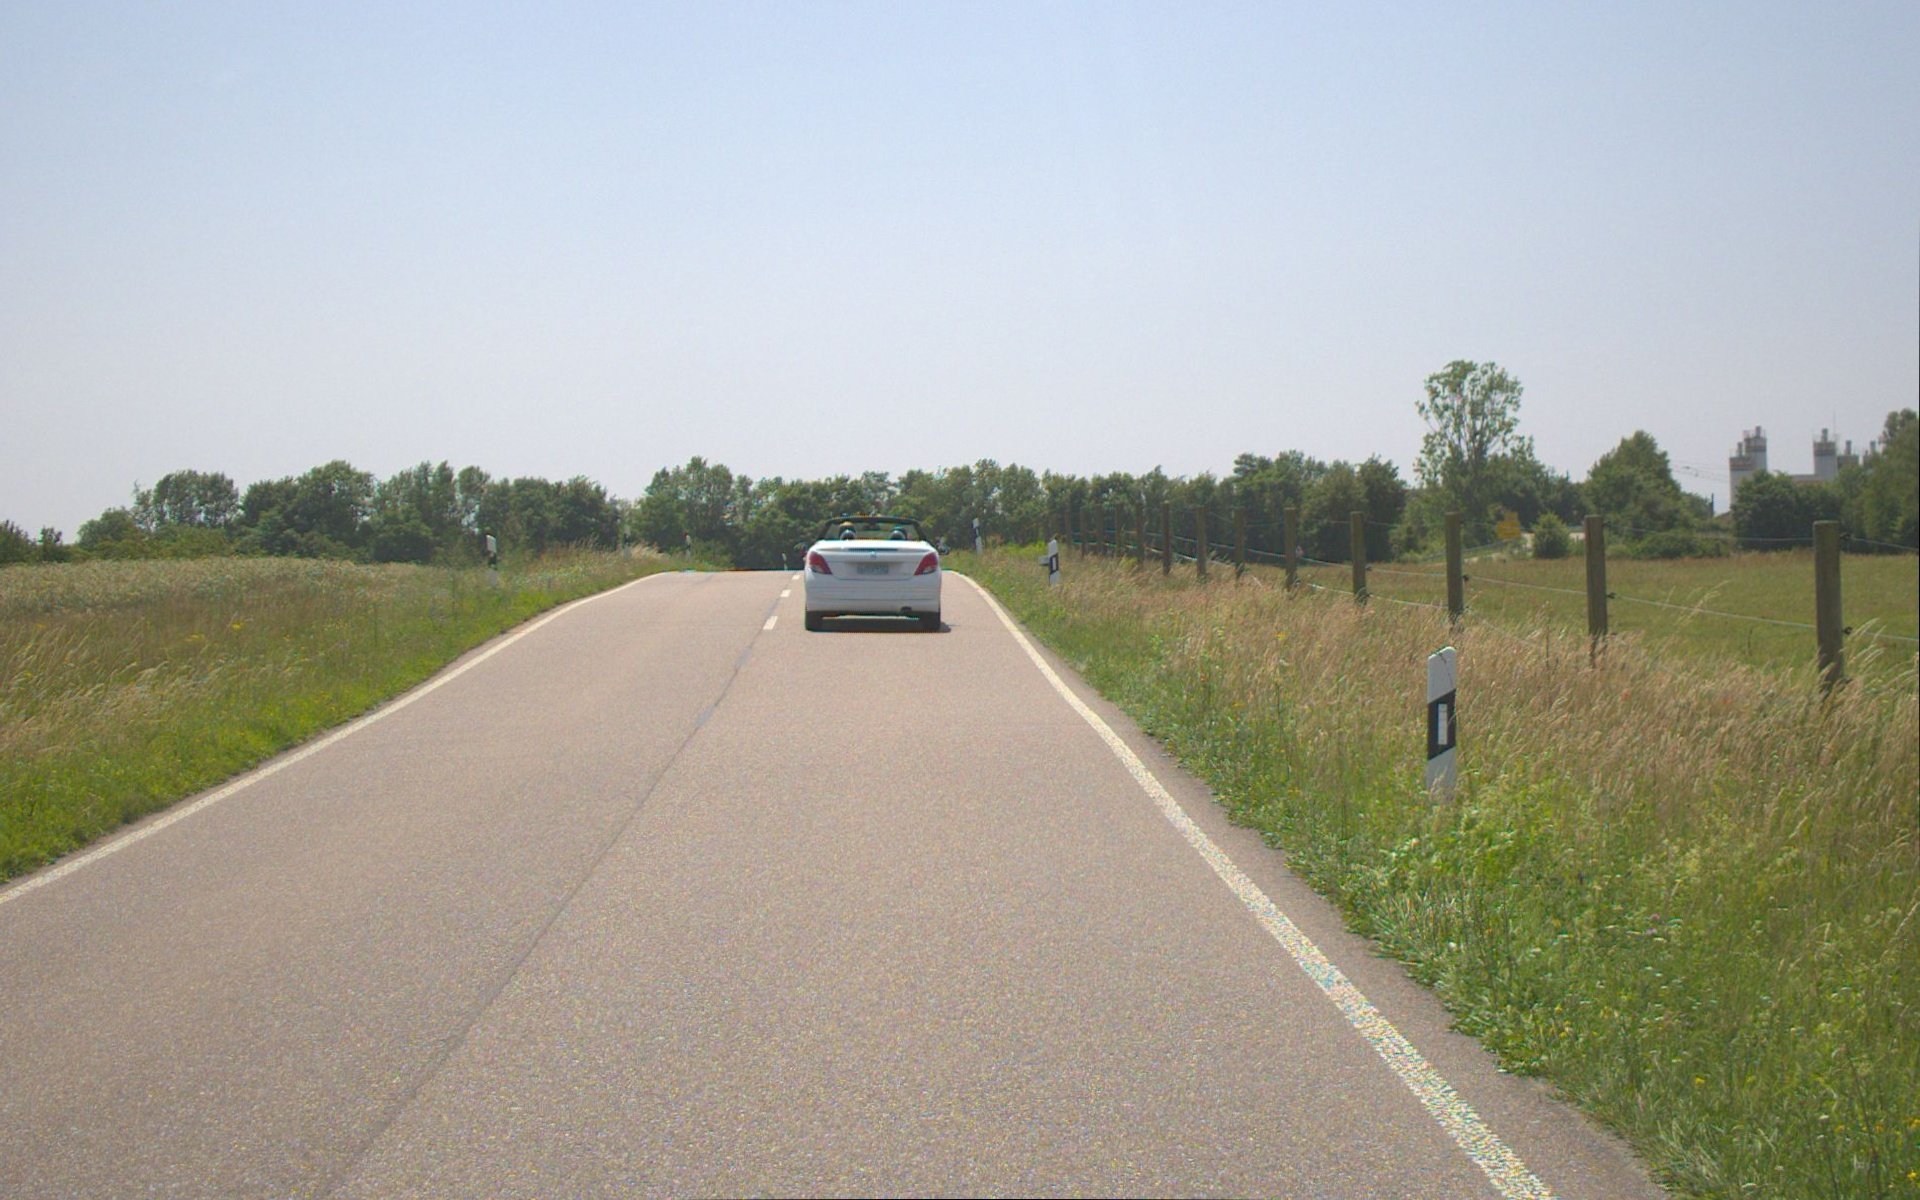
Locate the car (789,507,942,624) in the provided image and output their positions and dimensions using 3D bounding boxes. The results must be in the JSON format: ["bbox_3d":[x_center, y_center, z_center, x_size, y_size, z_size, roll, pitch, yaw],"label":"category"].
[{"bbox_3d":[-1.220,-0.472,43.592,1.850,1.374,4.001,0,2,-2],"label":"car"}]
